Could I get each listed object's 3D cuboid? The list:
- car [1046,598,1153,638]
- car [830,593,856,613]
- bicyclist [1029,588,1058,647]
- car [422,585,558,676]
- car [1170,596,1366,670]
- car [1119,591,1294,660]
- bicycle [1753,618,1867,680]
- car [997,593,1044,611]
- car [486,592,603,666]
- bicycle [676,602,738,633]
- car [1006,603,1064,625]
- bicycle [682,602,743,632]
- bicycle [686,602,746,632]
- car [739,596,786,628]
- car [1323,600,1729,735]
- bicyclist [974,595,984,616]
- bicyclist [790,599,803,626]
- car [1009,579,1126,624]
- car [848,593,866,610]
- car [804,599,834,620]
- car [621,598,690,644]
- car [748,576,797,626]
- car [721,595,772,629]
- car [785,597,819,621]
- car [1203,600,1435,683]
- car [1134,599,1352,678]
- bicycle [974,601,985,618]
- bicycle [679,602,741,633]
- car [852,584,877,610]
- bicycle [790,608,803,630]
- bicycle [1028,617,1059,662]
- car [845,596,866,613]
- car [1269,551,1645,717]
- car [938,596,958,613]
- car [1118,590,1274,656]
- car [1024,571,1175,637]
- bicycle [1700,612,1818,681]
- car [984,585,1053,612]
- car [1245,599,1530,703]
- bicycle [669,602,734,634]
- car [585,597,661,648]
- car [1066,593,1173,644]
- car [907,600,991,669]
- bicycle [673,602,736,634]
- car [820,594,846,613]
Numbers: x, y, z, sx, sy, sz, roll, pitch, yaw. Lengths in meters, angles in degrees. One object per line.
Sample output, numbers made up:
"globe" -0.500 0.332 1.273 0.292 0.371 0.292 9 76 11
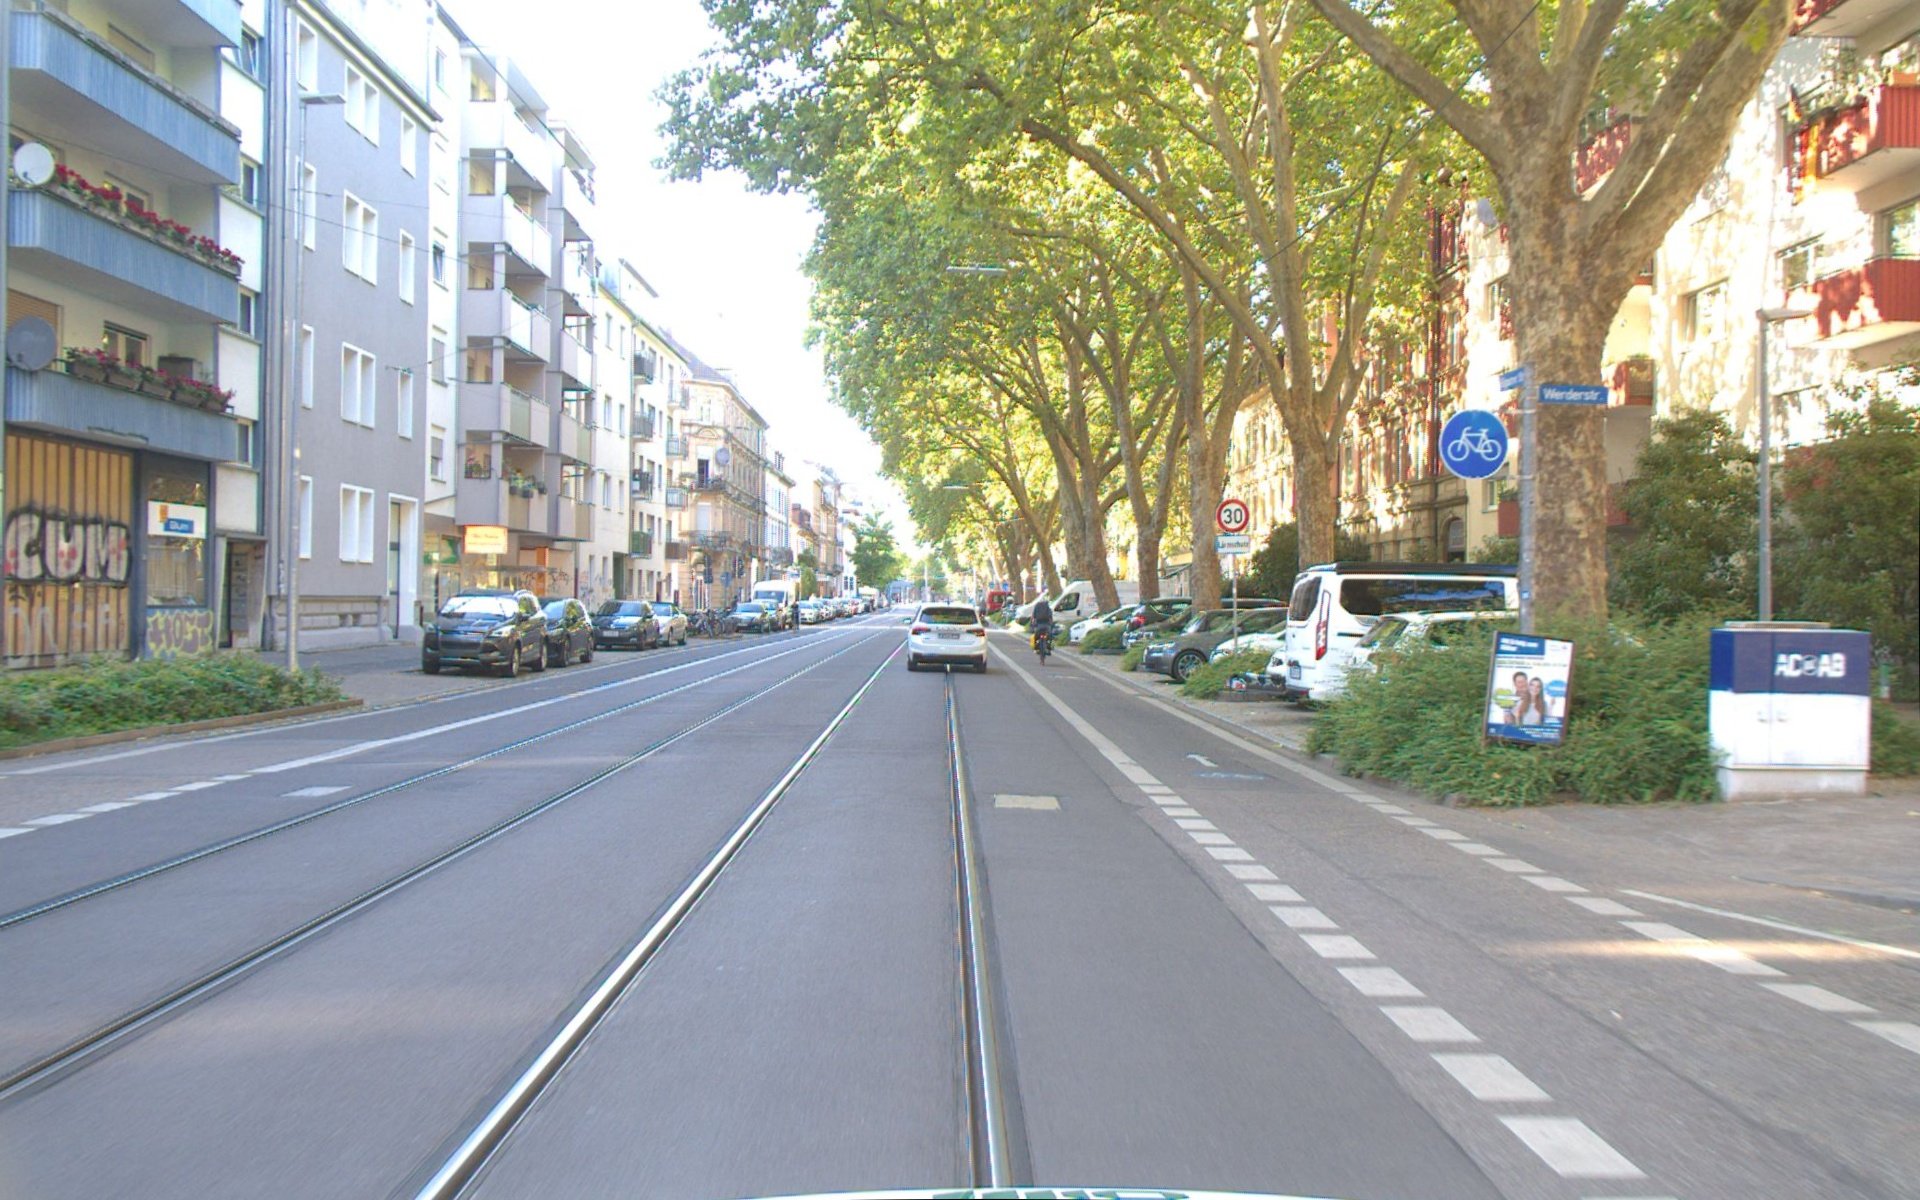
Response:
"car" 5.593 0.701 66.404 3.972 1.567 1.997 0 0 -7
"car" -10.379 0.303 146.890 1.953 1.668 3.999 1 0 -1
"bicyclist" 2.085 0.434 41.271 0.664 1.468 1.047 0 0 0
"car" -9.584 0.589 34.046 1.668 1.679 4.240 3 0 -2
"car" 6.641 0.694 35.916 3.906 1.540 1.760 0 0 -2
"car" 6.216 0.635 42.076 4.149 1.695 1.847 0 0 -2
"bicycle" 15.311 0.875 29.811 1.756 1.060 0.617 -1 0 -5
"car" 5.195 0.154 143.383 3.967 1.567 2.000 0 0 -1
"car" -9.726 0.635 39.024 1.668 1.571 4.241 3 0 -1
"bicycle" -10.476 0.741 68.572 2.476 1.193 0.718 2 -2 -6
"car" 5.291 0.981 117.320 3.967 1.567 2.000 0 0 -1
"bicycle" -10.527 0.735 70.408 2.476 1.193 0.718 2 -2 -6
"bicycle" -10.536 0.742 71.462 2.477 1.193 0.718 2 -2 -7
"car" -10.061 0.597 84.623 1.953 1.557 3.999 0 0 -1
"car" 6.637 0.766 19.684 4.210 1.505 1.830 0 0 -2
"bicyclist" 1.247 0.348 107.908 0.636 1.367 0.934 0 0 -3
"bicyclist" -8.127 0.612 82.204 0.585 1.308 0.916 0 0 -4
"car" 5.675 0.087 87.860 6.007 2.322 2.528 0 0 -3
"car" -12.828 0.232 206.256 1.953 2.049 3.999 1 -1 -1
"car" -10.647 0.683 124.847 1.953 1.557 3.999 0 0 -1
"car" -9.994 0.662 54.529 1.454 1.428 3.991 1 0 1
"car" -10.232 0.050 90.565 2.134 2.642 4.948 0 0 -1
"car" -10.140 0.557 78.841 1.953 1.557 3.999 0 0 -1
"car" -10.571 0.580 110.886 1.953 1.557 3.999 0 0 -1
"car" 6.711 0.759 31.223 3.954 1.505 1.923 0 0 -1
"car" 5.664 0.760 33.458 4.059 1.540 1.930 0 0 -2
"bicycle" 1.252 0.641 107.894 0.636 1.089 1.582 0 0 -3
"bicycle" -10.513 0.736 69.559 2.476 1.193 0.718 2 -2 -6
"car" -12.301 -0.382 213.423 2.908 3.211 5.846 1 -1 -1
"bicycle" -8.114 0.944 82.096 0.593 1.089 1.582 0 0 -3
"bicycle" 2.088 0.970 41.421 0.667 1.089 1.781 0 0 0
"car" -10.910 0.485 172.708 1.953 1.668 3.999 1 0 -1
"car" 6.592 0.436 22.263 4.453 2.113 1.999 0 0 -3
"car" -1.037 0.378 146.802 1.725 1.501 4.000 0 0 0
"car" 6.294 0.600 44.384 3.906 1.709 1.723 0 0 -2
"car" 5.795 0.155 69.242 6.007 2.681 2.528 0 0 -3
"bicycle" 14.415 0.839 29.863 1.908 1.177 0.571 -1 0 -8
"car" 5.188 -0.123 148.077 6.007 2.322 2.528 0 0 -3
"car" 6.394 0.748 24.972 3.820 1.505 1.722 0 0 -4
"bicycle" -10.432 0.741 66.861 2.510 1.193 0.870 4 -2 -41
"car" -10.019 0.644 49.432 1.620 1.462 3.835 1 0 -2
"car" 5.452 0.621 56.982 3.559 1.695 1.822 0 0 1
"car" -0.240 0.698 35.857 1.725 1.408 4.000 0 0 -1
"bicycle" -10.450 0.741 67.686 2.477 1.193 0.718 2 -2 -7
"car" -10.753 0.271 140.194 1.953 1.557 3.999 0 0 -1
